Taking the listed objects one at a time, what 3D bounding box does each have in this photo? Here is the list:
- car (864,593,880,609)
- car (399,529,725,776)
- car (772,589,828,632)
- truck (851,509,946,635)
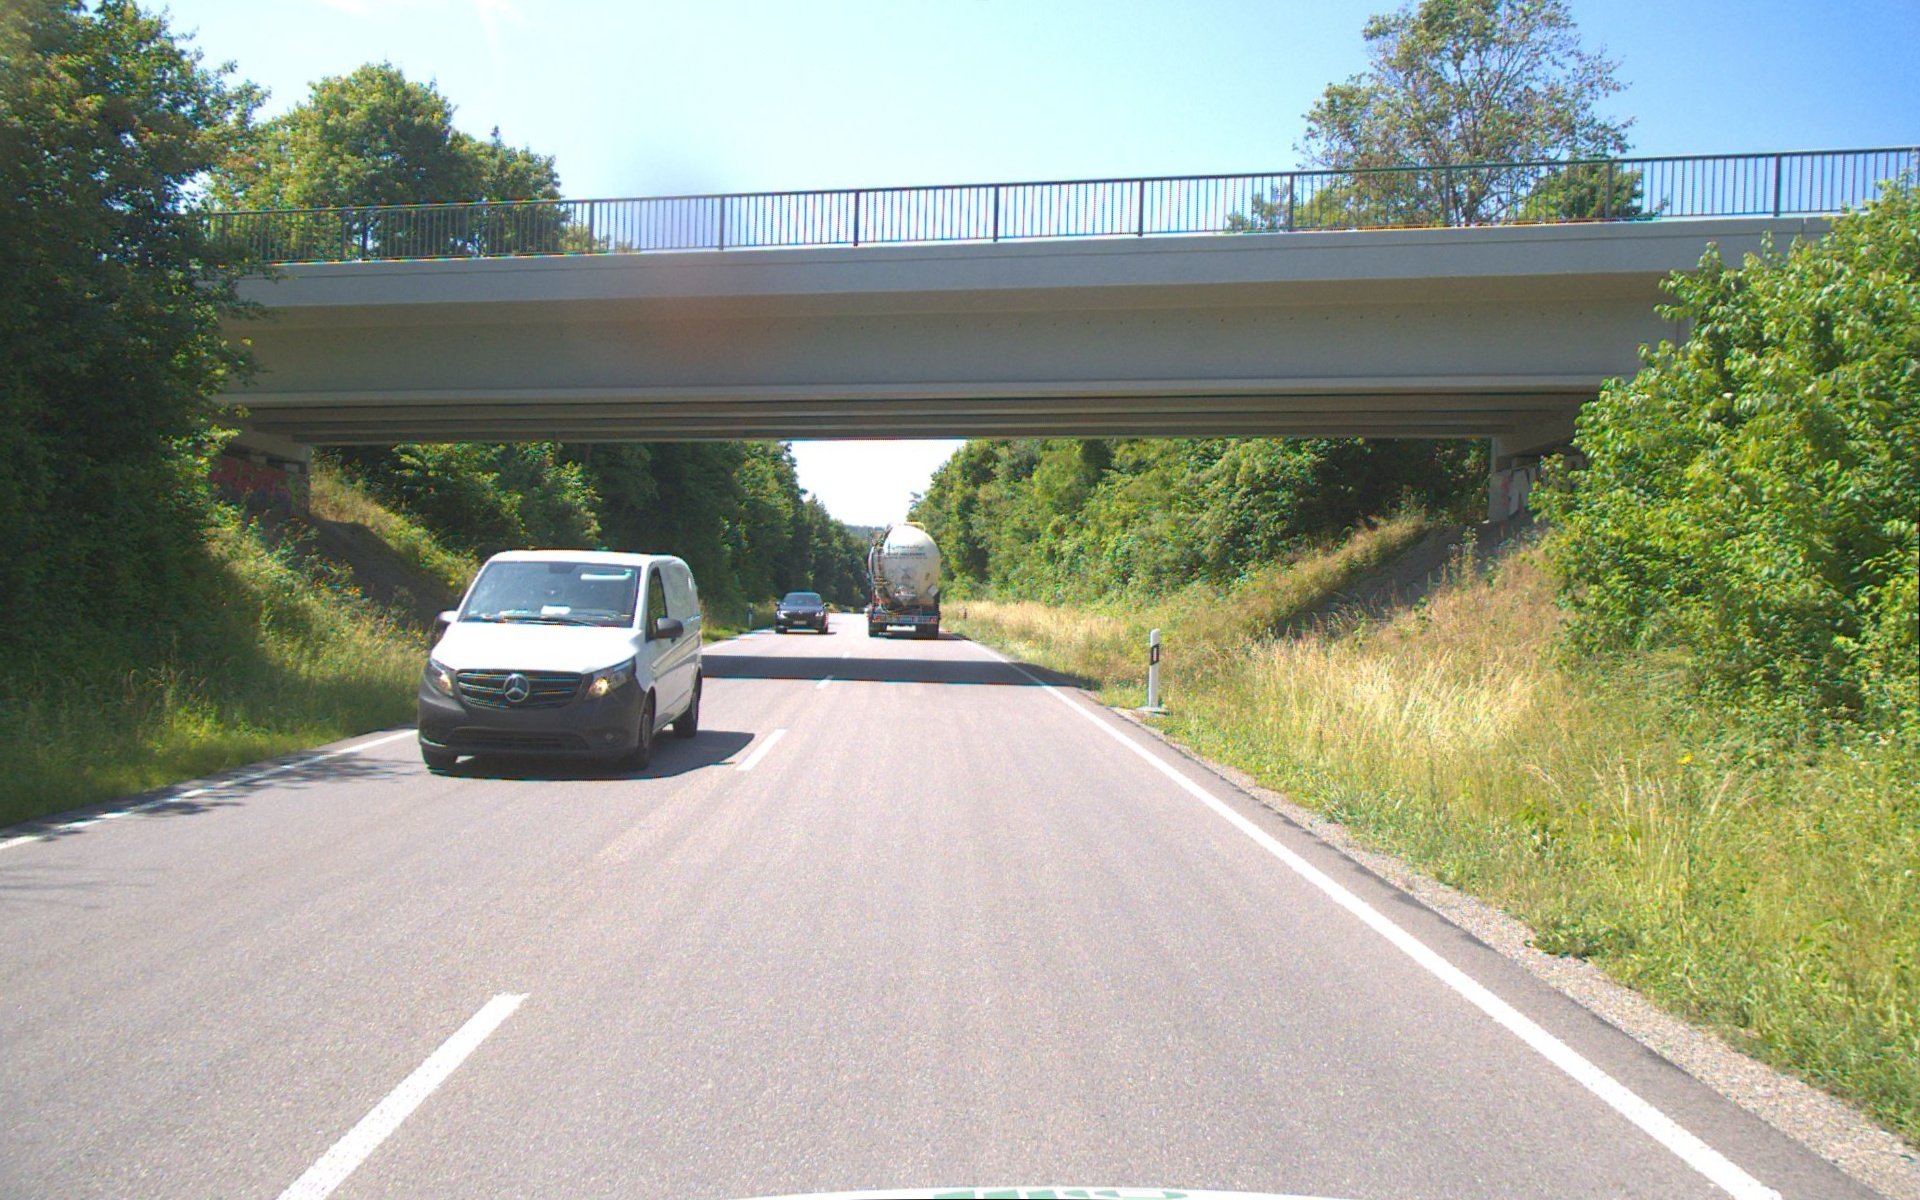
[{"bbox_3d":[-11.303,0.104,211.395,1.954,2.049,3.997,1,0,-4],"label":"car"},{"bbox_3d":[-3.532,0.400,15.784,1.892,1.939,5.326,1,0,-1],"label":"car"},{"bbox_3d":[-6.048,0.376,62.902,1.821,1.532,4.585,0,0,-2],"label":"car"},{"bbox_3d":[-2.416,-0.848,63.335,2.989,4.068,15.627,3,-1,-3],"label":"truck"}]
